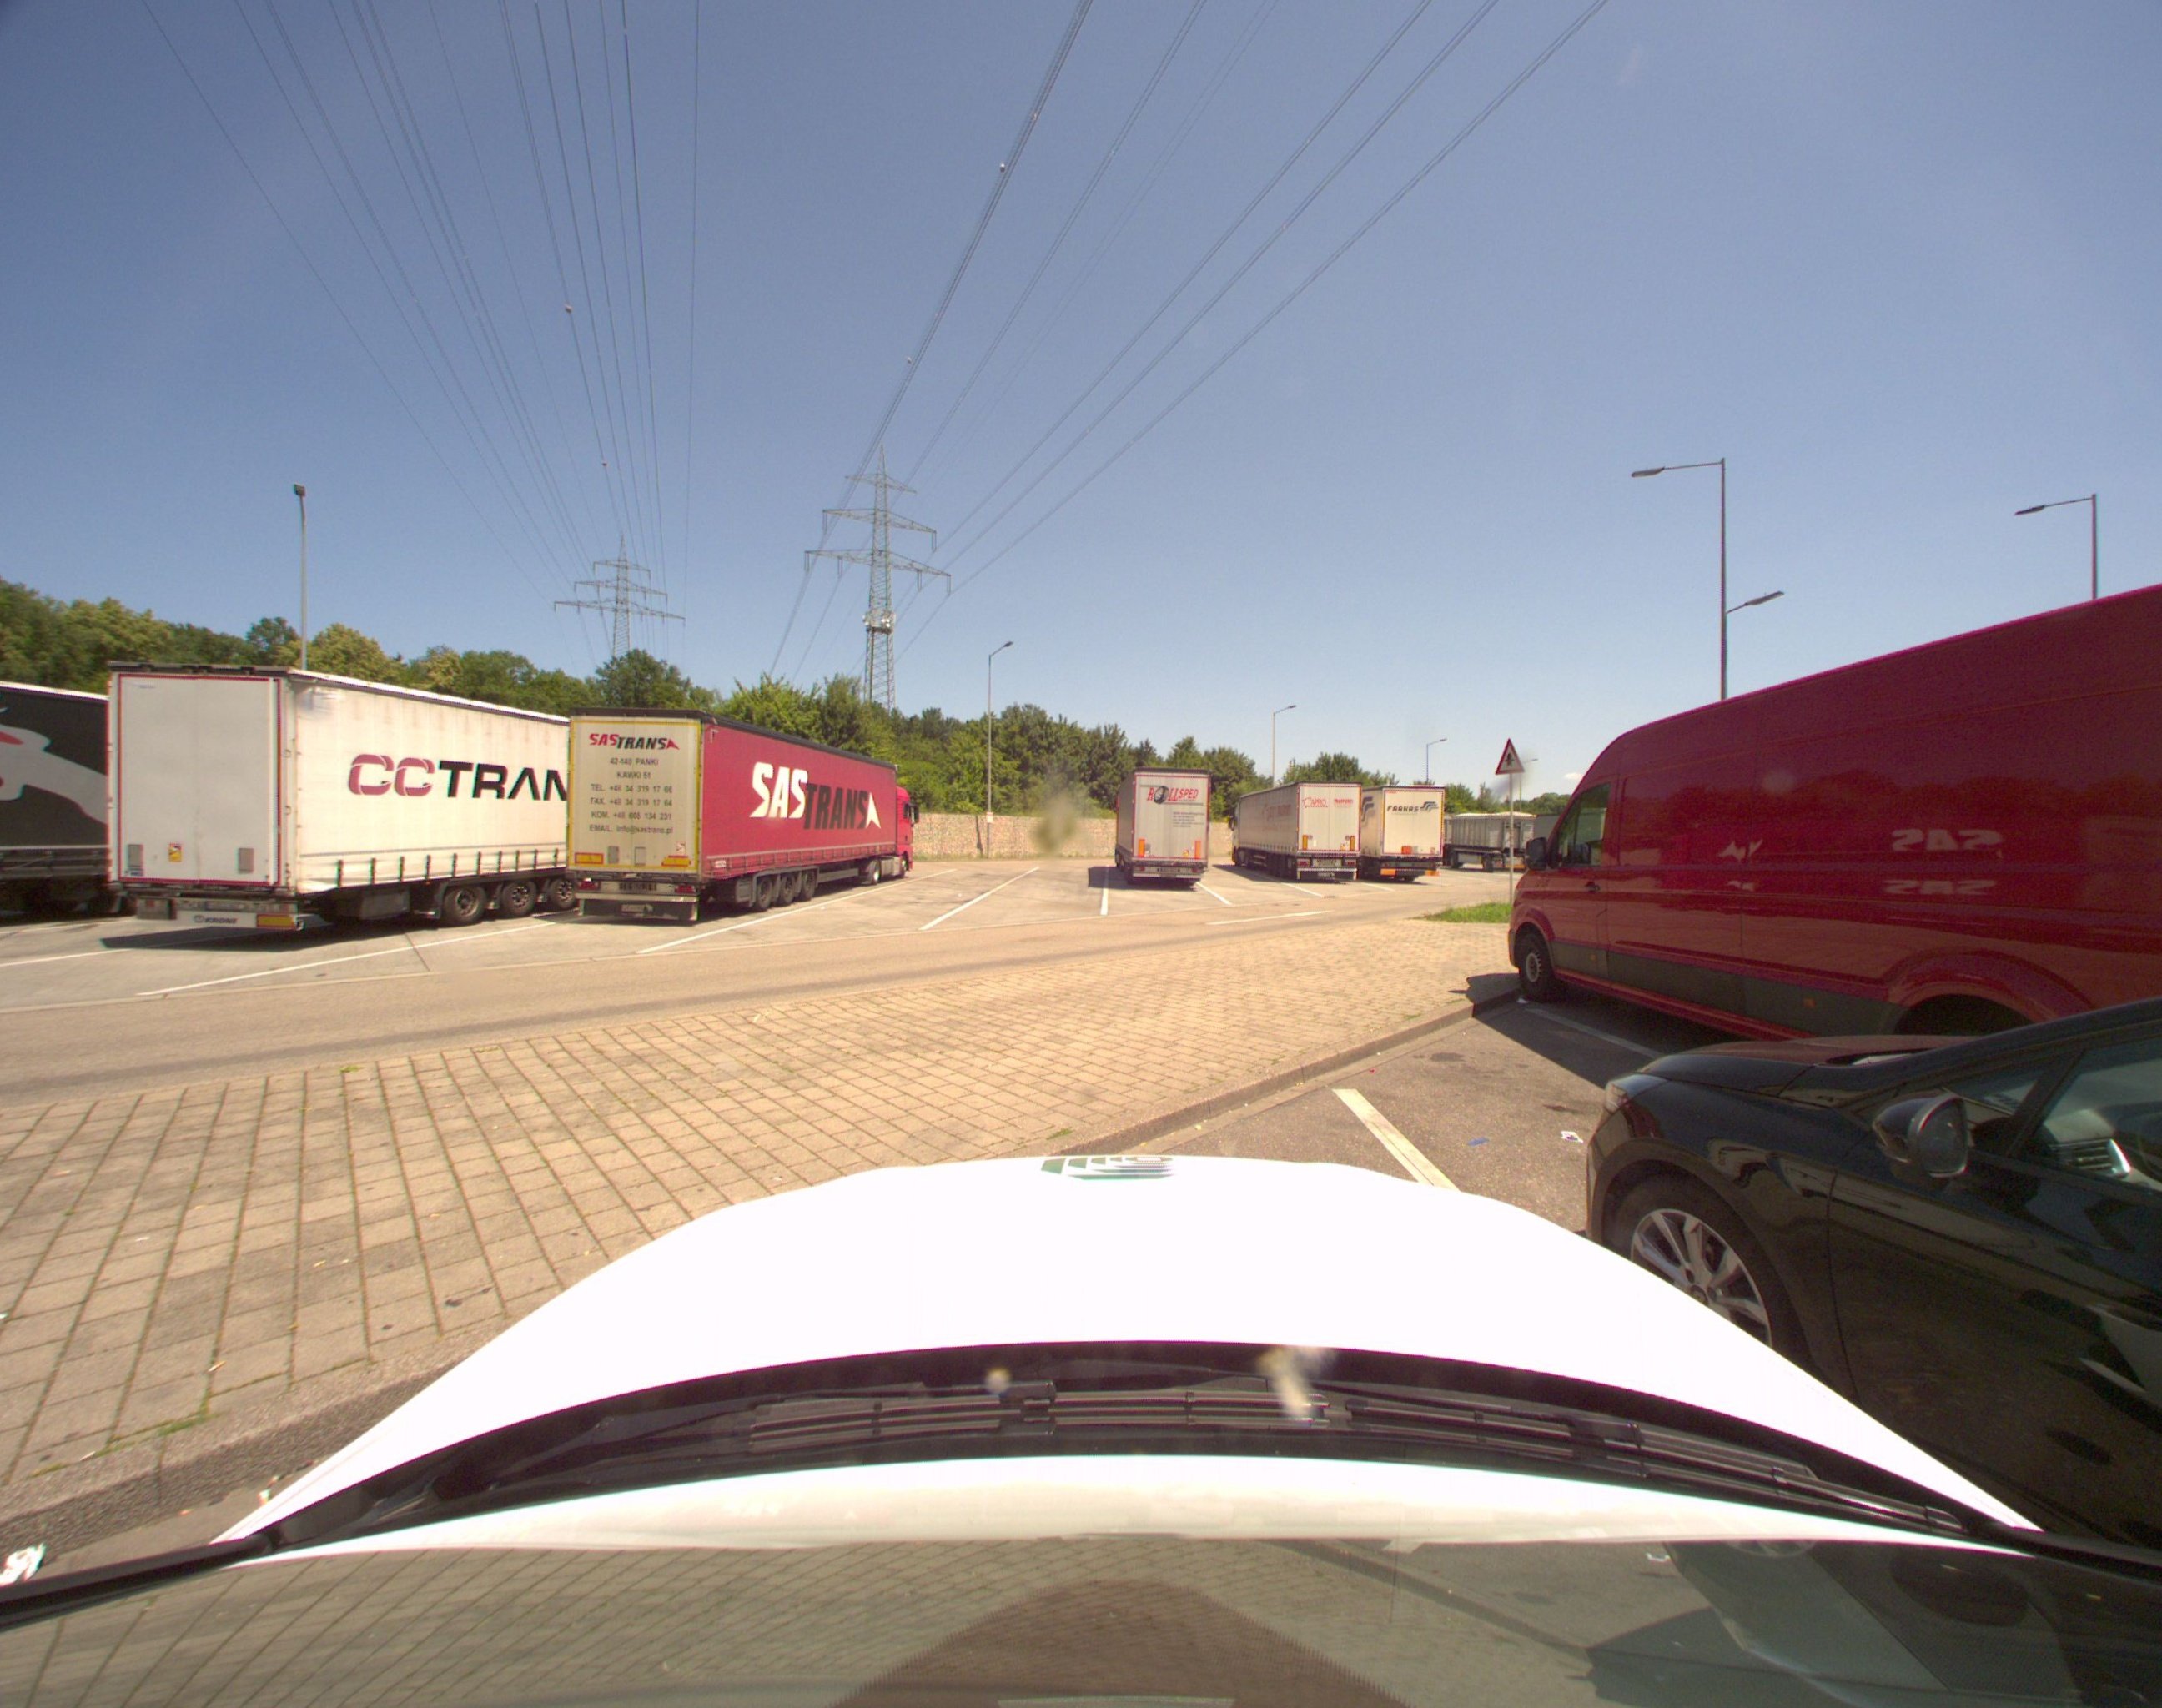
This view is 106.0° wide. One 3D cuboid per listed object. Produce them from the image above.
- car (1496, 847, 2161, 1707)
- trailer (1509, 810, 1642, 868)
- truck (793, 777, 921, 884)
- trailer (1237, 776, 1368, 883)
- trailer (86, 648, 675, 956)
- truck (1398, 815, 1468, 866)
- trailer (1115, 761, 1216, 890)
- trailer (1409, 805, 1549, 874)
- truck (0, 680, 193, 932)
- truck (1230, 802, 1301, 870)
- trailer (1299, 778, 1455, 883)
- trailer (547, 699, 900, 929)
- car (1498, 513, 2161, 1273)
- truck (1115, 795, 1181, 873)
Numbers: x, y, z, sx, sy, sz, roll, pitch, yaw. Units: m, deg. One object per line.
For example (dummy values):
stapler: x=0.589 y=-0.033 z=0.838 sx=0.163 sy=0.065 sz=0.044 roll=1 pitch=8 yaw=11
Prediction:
car: x=2.519 y=0.754 z=1.183 sx=1.733 sy=1.482 sz=3.813 roll=-1 pitch=1 yaw=-3
trailer: x=38.381 y=-1.221 z=64.138 sx=2.826 sy=4.049 sz=13.737 roll=1 pitch=2 yaw=3
truck: x=-7.797 y=-0.838 z=29.098 sx=2.841 sy=3.427 sz=5.486 roll=1 pitch=1 yaw=2
trailer: x=9.960 y=-1.150 z=38.626 sx=2.828 sy=4.132 sz=13.730 roll=1 pitch=2 yaw=2
trailer: x=-12.202 y=-0.894 z=16.333 sx=2.718 sy=4.209 sz=10.175 roll=1 pitch=2 yaw=2
truck: x=24.927 y=-0.999 z=57.953 sx=2.840 sy=3.364 sz=5.488 roll=1 pitch=1 yaw=3
trailer: x=3.028 y=-1.100 z=33.300 sx=2.896 sy=4.132 sz=13.727 roll=1 pitch=2 yaw=1
trailer: x=24.537 y=-0.991 z=51.455 sx=2.826 sy=3.717 sz=13.737 roll=1 pitch=2 yaw=3
truck: x=-18.578 y=-0.808 z=13.569 sx=2.692 sy=4.016 sz=4.326 roll=1 pitch=2 yaw=2
truck: x=10.168 y=-1.024 z=45.437 sx=2.841 sy=3.483 sz=5.486 roll=1 pitch=1 yaw=2
trailer: x=13.616 y=-1.115 z=39.289 sx=2.828 sy=4.132 sz=13.730 roll=1 pitch=2 yaw=2
trailer: x=-8.036 y=-0.956 z=21.662 sx=2.896 sy=4.131 sz=13.731 roll=1 pitch=2 yaw=2
car: x=5.162 y=0.088 z=5.493 sx=2.055 sy=2.695 sz=6.405 roll=-1 pitch=1 yaw=6
truck: x=3.173 y=-0.986 z=39.912 sx=2.841 sy=3.483 sz=5.486 roll=1 pitch=1 yaw=2
